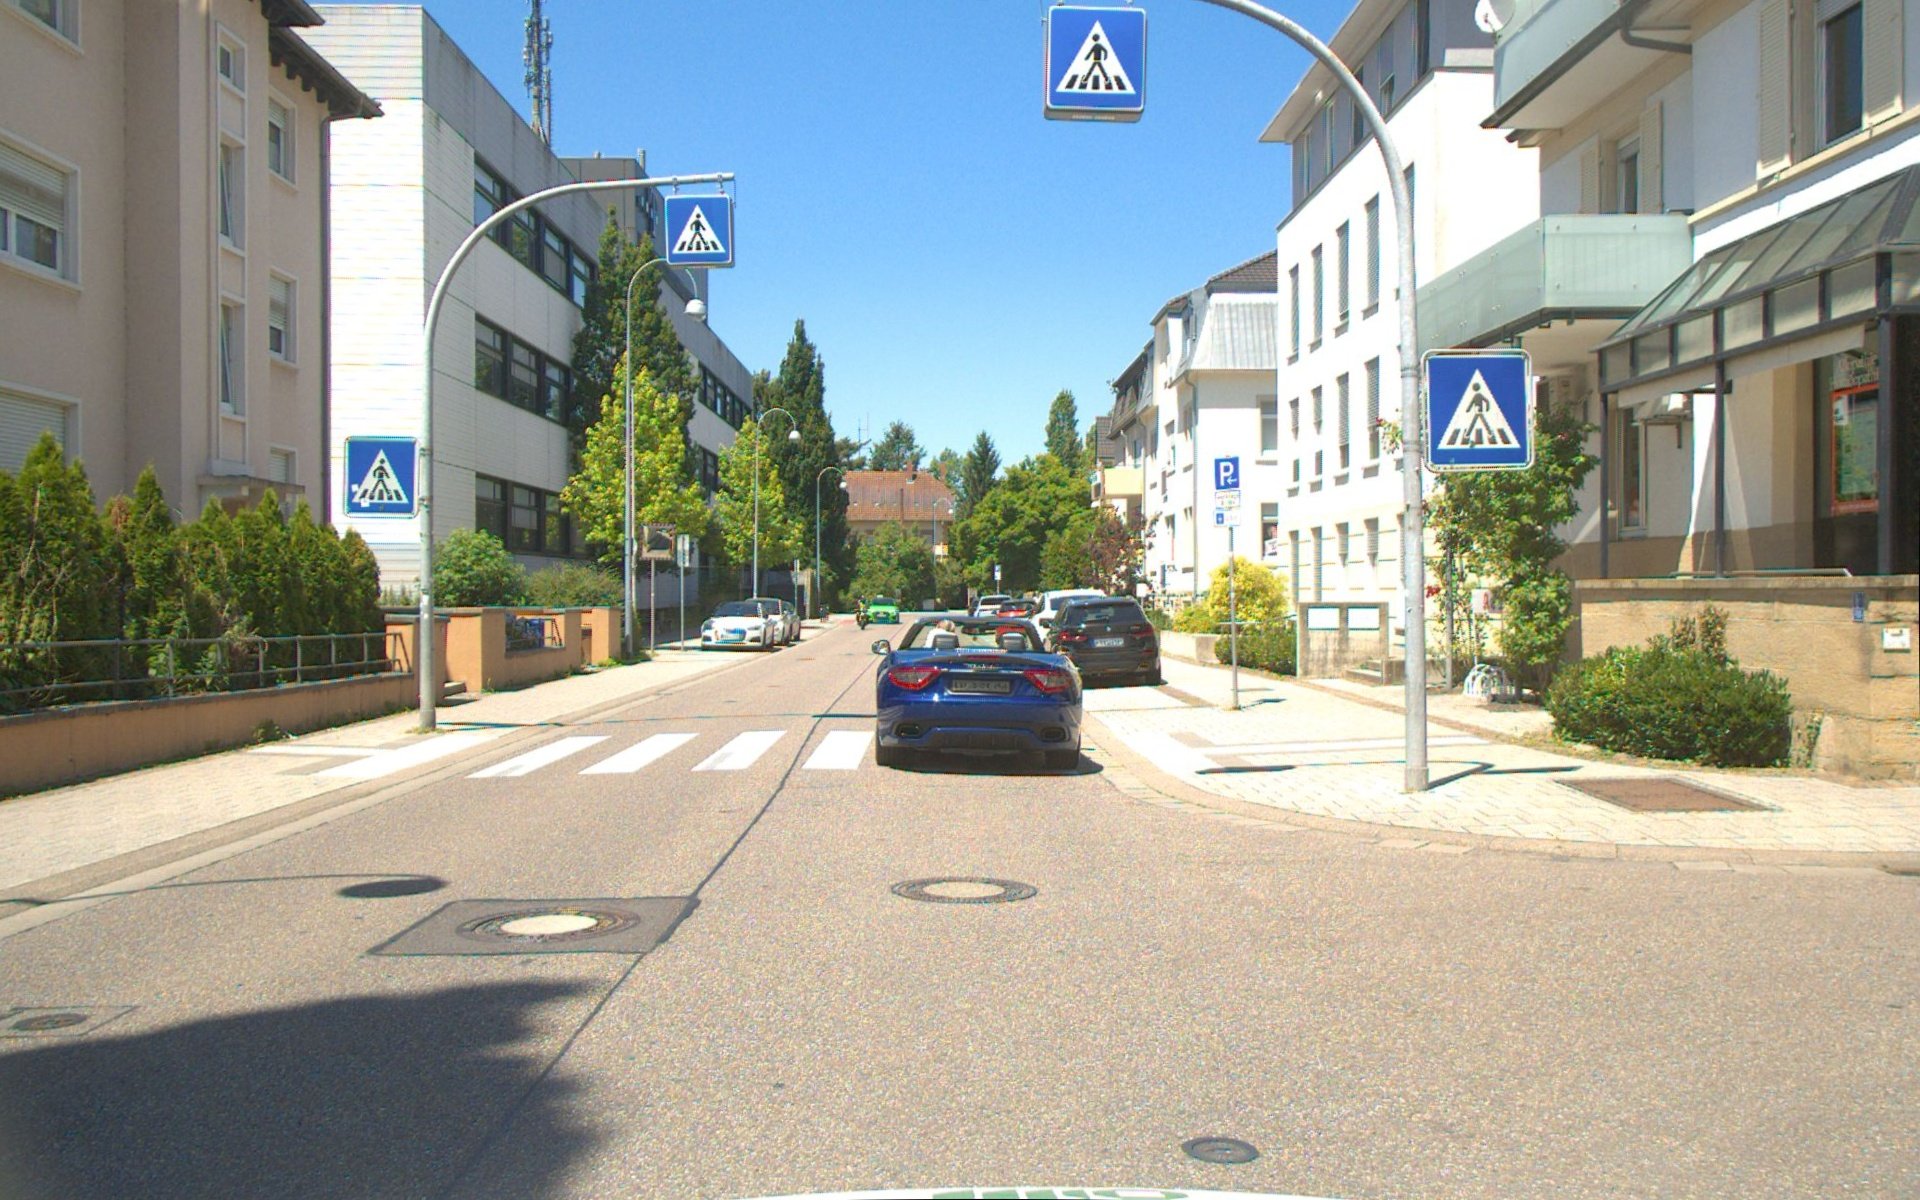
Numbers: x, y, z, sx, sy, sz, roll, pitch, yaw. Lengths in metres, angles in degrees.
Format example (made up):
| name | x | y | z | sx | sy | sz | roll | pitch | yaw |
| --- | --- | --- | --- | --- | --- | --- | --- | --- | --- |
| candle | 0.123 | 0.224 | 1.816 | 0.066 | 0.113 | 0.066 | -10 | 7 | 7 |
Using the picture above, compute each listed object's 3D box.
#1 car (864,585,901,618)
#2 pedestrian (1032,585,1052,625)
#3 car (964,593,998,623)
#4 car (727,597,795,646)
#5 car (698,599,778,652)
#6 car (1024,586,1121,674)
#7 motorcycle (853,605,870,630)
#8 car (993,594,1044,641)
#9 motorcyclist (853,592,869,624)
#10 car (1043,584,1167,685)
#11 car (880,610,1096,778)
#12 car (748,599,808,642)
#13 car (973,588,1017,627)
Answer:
| name | x | y | z | sx | sy | sz | roll | pitch | yaw |
| --- | --- | --- | --- | --- | --- | --- | --- | --- | --- |
| car | -4.370 | 0.074 | 93.051 | 1.787 | 1.615 | 4.096 | 0 | 3 | -7 |
| pedestrian | 3.595 | 0.213 | 72.342 | 0.725 | 1.699 | 0.705 | -3 | 0 | -3 |
| car | 1.095 | 0.411 | 88.280 | 1.599 | 1.471 | 4.397 | -3 | 0 | -1 |
| car | -6.509 | 0.690 | 54.526 | 1.785 | 1.538 | 4.288 | 0 | 0 | -1 |
| car | -6.554 | 0.728 | 49.222 | 1.785 | 1.436 | 4.576 | 2 | 0 | -1 |
| car | 2.329 | 0.583 | 35.268 | 1.670 | 1.695 | 4.579 | -2 | 0 | -1 |
| motorcycle | -4.572 | 0.791 | 76.864 | 0.684 | 1.126 | 1.790 | -2 | 0 | -1 |
| car | 1.983 | 0.580 | 56.913 | 1.571 | 1.466 | 3.853 | -3 | 0 | 0 |
| motorcyclist | -4.583 | 0.365 | 76.712 | 0.684 | 1.458 | 0.707 | -2 | 0 | -1 |
| car | 2.488 | 0.556 | 29.337 | 1.670 | 1.583 | 4.747 | -2 | 0 | -1 |
| car | 0.197 | 0.806 | 16.262 | 1.789 | 1.360 | 4.699 | 1 | 0 | -1 |
| car | -6.587 | 0.722 | 60.176 | 1.712 | 1.433 | 3.933 | -1 | 0 | 0 |
| car | 1.525 | 0.321 | 73.767 | 1.806 | 1.647 | 4.426 | -2 | 0 | -1 |
